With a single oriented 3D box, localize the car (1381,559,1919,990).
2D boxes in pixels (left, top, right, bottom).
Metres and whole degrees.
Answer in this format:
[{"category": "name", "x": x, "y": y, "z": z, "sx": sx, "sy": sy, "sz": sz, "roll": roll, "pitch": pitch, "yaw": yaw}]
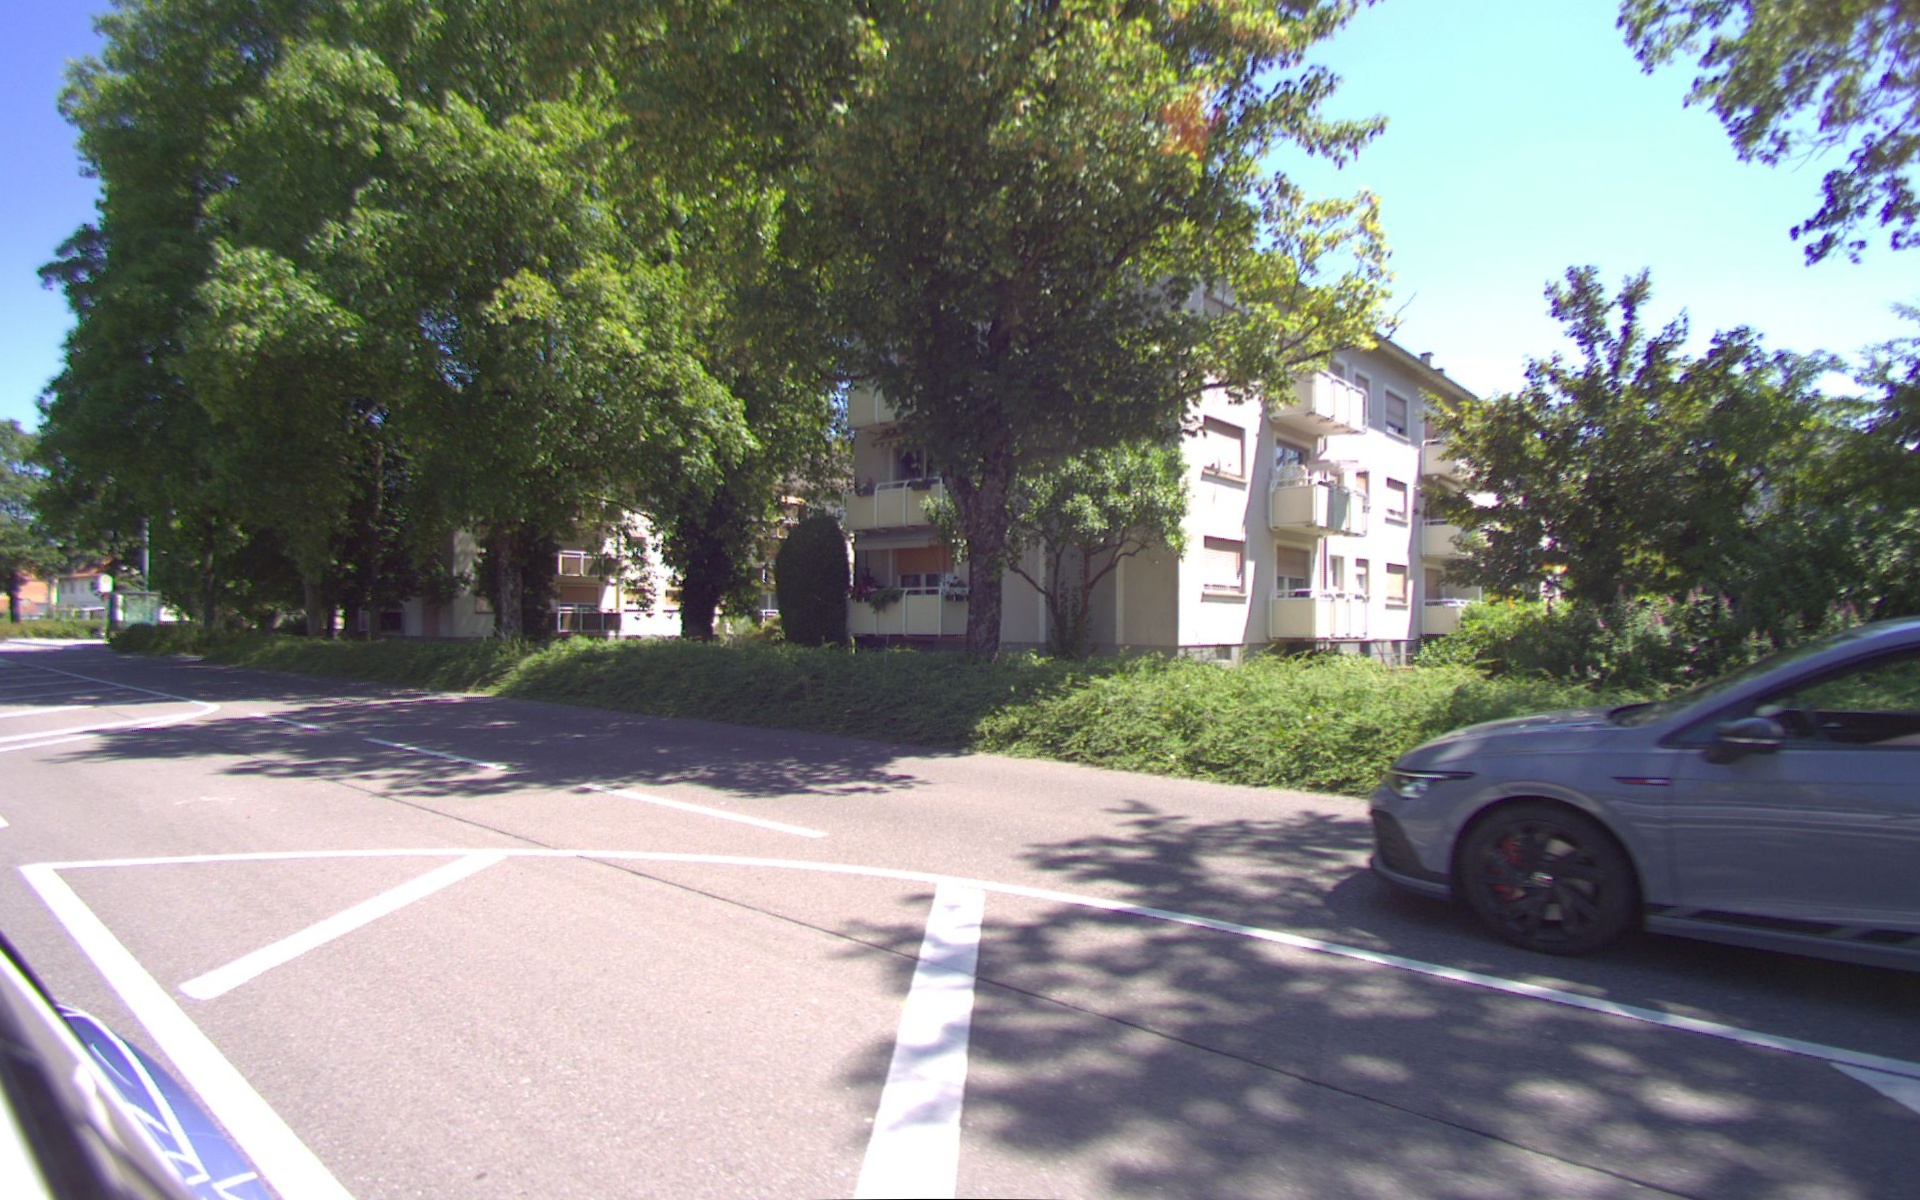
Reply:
[{"category": "car", "x": 4.004, "y": 0.577, "z": 3.827, "sx": 4.144, "sy": 1.438, "sz": 1.704, "roll": -1, "pitch": 0, "yaw": 40}]
